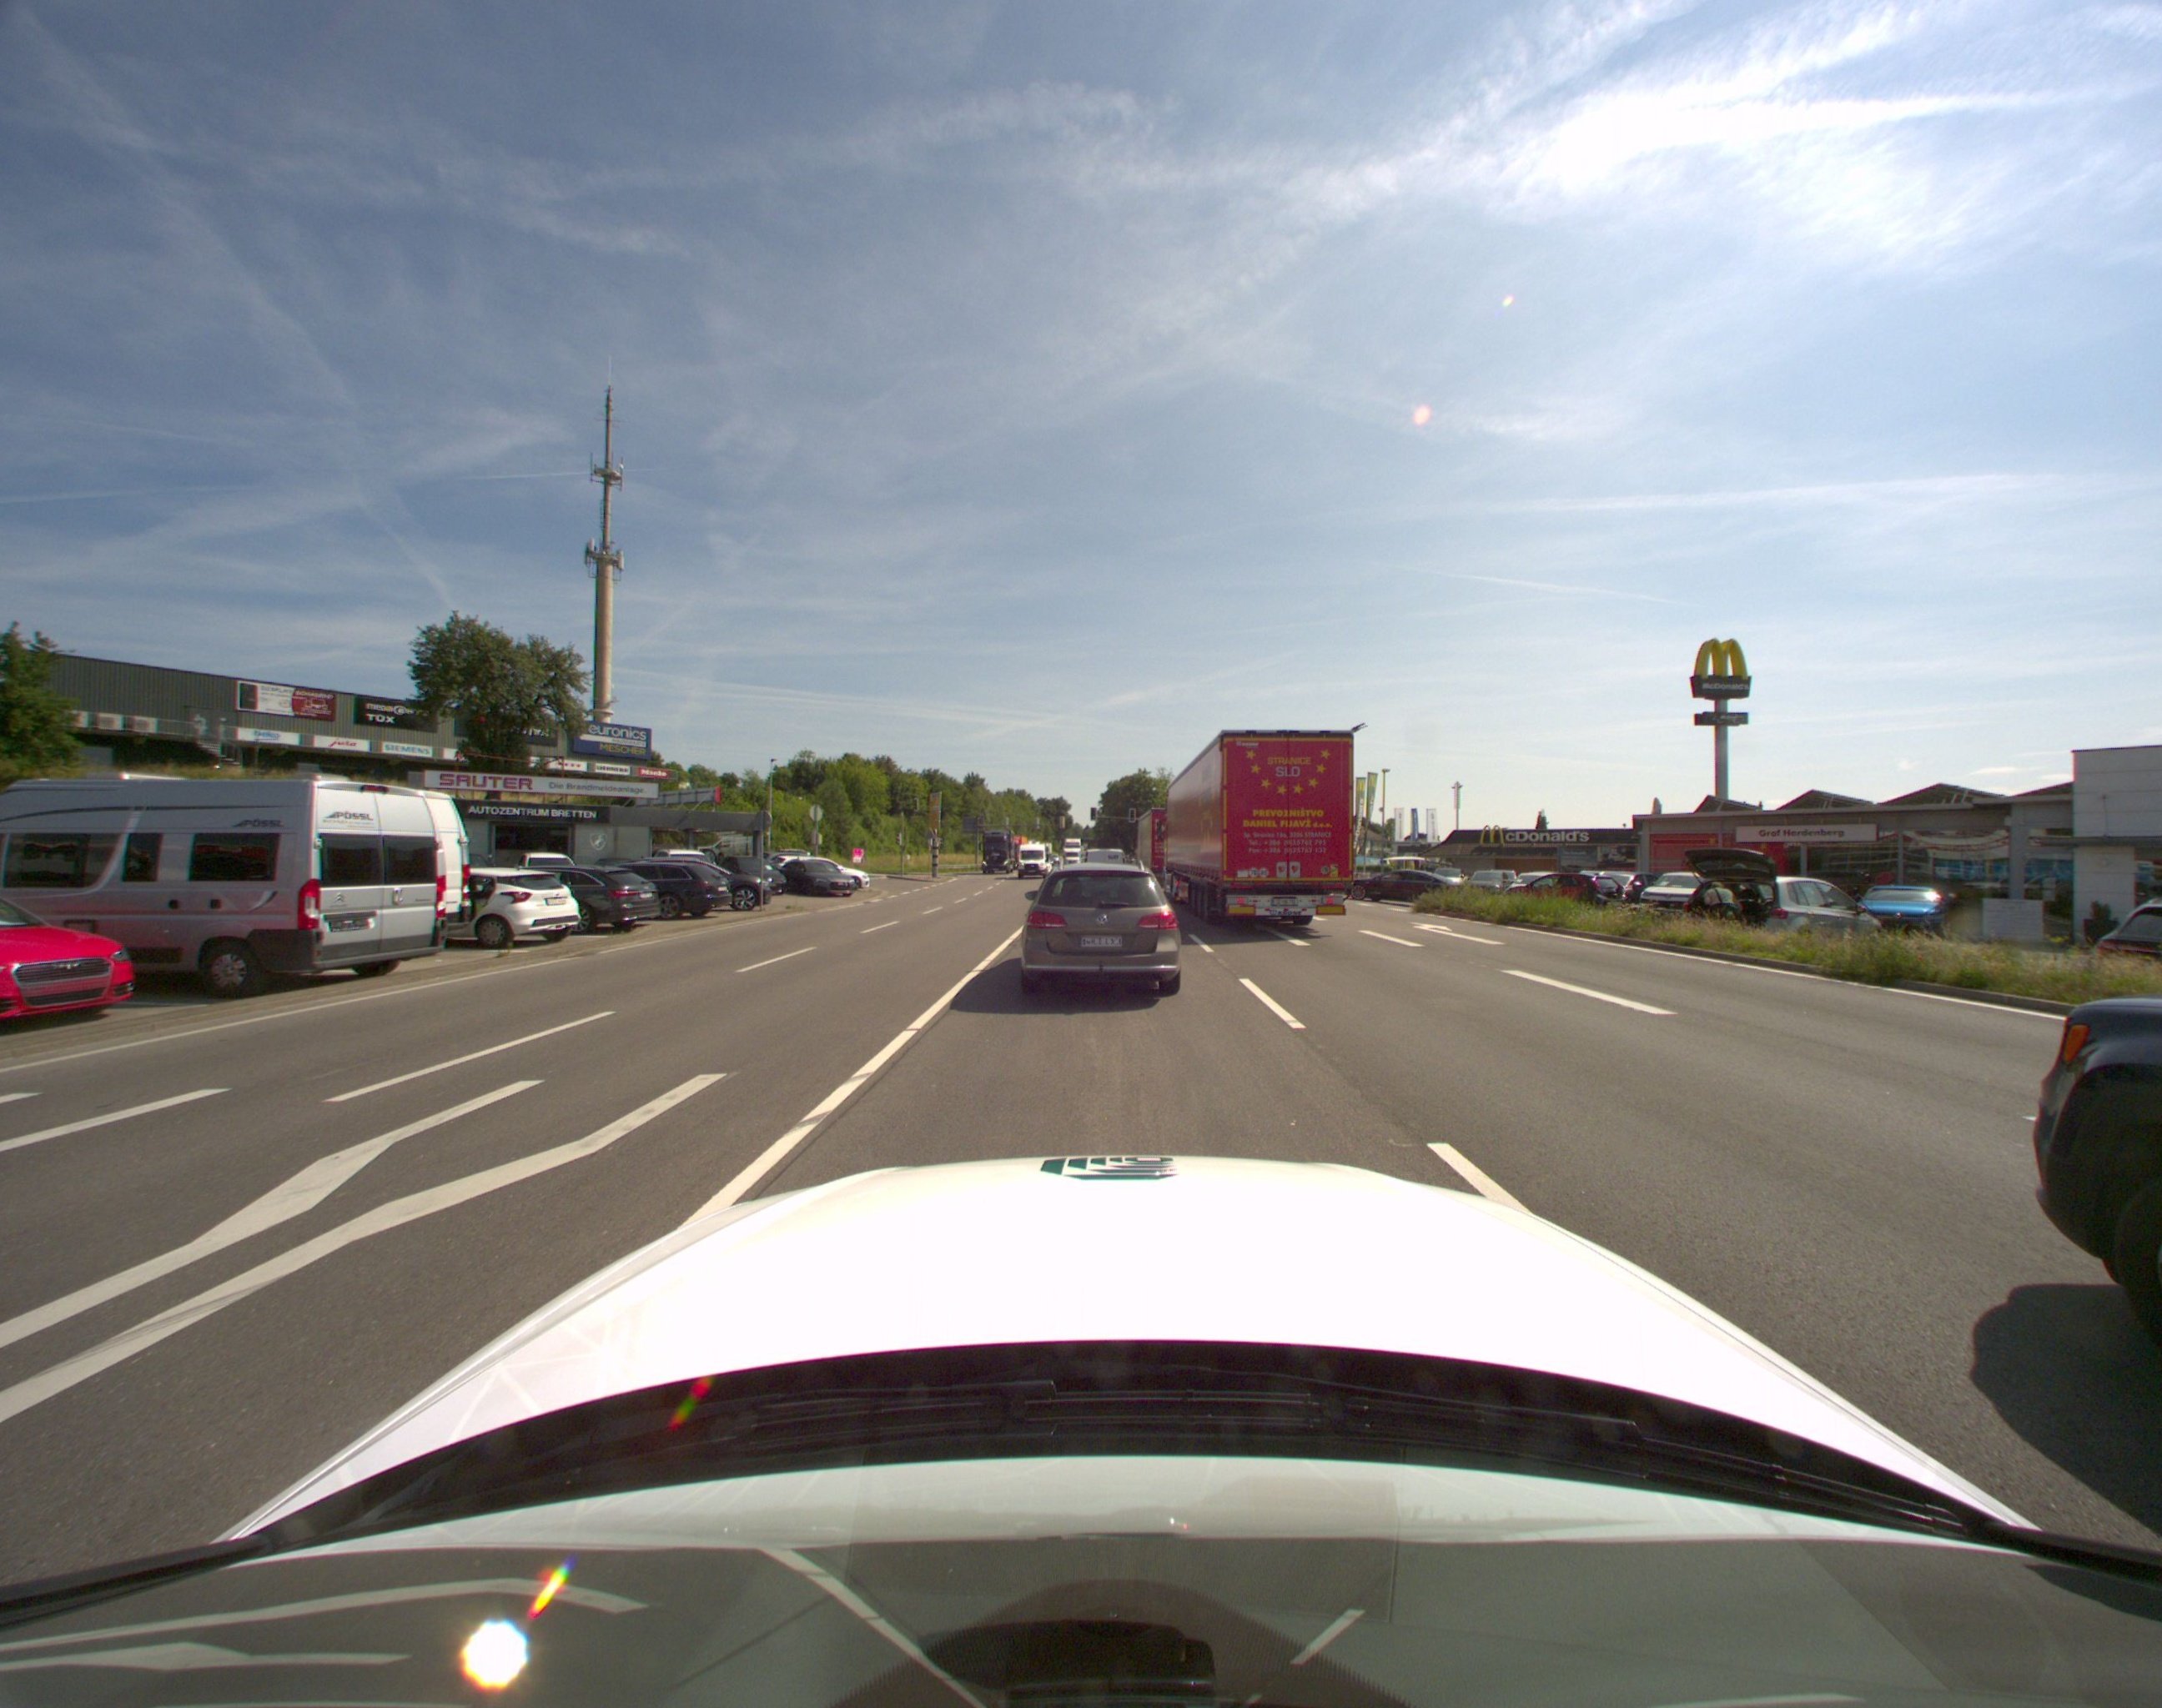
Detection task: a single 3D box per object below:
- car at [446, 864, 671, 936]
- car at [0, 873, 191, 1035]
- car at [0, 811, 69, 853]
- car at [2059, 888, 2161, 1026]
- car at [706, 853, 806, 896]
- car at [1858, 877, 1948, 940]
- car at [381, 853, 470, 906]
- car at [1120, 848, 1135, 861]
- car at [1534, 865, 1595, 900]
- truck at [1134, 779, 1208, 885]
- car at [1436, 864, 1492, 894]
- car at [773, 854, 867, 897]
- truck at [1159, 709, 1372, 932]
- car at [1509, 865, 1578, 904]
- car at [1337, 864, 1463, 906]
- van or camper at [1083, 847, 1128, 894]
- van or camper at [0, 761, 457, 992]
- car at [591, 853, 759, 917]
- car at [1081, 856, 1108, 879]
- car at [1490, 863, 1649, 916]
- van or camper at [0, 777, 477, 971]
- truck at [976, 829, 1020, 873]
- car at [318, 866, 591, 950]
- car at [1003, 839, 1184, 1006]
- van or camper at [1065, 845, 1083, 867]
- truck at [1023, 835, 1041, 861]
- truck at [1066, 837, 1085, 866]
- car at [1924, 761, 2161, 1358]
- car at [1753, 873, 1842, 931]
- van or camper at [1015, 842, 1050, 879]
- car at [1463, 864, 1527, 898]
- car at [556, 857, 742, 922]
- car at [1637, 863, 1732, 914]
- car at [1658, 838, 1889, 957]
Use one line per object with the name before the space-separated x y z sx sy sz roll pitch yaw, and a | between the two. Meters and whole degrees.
car | -11.546 0.989 18.206 3.803 1.448 1.843 -1 0 0
car | -11.829 0.983 8.294 3.580 1.480 1.813 -1 0 2
car | -39.818 -0.807 30.424 1.745 1.450 3.705 1 -1 -39
car | 13.246 1.112 9.071 3.843 1.399 1.693 0 0 -17
car | -13.378 0.832 33.489 3.780 1.693 1.854 -1 0 31
car | 23.403 1.475 23.175 3.807 1.557 1.682 0 0 -44
car | -21.361 0.780 26.678 1.775 1.588 3.791 -1 0 -31
car | 6.012 0.088 105.700 1.721 1.519 3.312 0 -1 1
car | 22.823 1.321 38.398 1.666 1.531 3.617 0 0 45
truck | 4.987 -1.057 48.627 3.051 5.220 17.012 0 0 2
car | 20.773 1.341 44.167 3.284 1.531 1.743 0 0 -45
car | -11.135 0.866 34.613 2.143 1.693 4.474 -1 0 -42
truck | 4.315 -0.625 23.879 2.946 4.270 16.589 0 0 2
car | 19.866 1.266 34.932 1.666 1.531 3.617 0 0 45
car | 12.284 1.136 31.537 4.148 1.455 1.858 0 0 44
van or camper | 1.050 0.679 35.132 1.846 1.906 3.785 0 0 1
van or camper | -11.763 0.280 10.860 5.224 2.731 2.212 0 0 2
car | -11.473 0.848 23.200 3.803 1.675 1.843 -1 0 0
car | 0.912 0.907 54.212 1.720 1.519 3.313 0 -1 2
car | 15.699 1.084 26.378 2.004 1.531 3.965 0 0 -27
van or camper | -13.634 0.304 13.315 5.868 2.873 2.291 0 0 2
truck | -7.493 -0.269 74.524 2.800 3.786 6.997 -2 0 4
car | -11.903 0.996 15.673 3.803 1.448 1.843 -1 0 0
car | 0.269 0.701 9.855 1.782 1.638 3.508 -1 -1 5
van or camper | -0.902 0.321 111.207 2.216 2.841 5.712 0 -1 1
truck | -7.440 -0.912 123.946 2.527 3.786 6.983 -2 0 -2
truck | -0.839 -0.409 126.039 2.543 4.307 7.598 -2 0 2
car | 3.891 0.561 0.914 1.812 1.685 4.002 -1 0 2
car | 22.055 1.404 25.004 1.781 1.531 4.251 0 0 45
van or camper | -3.427 0.479 58.566 2.165 2.551 4.171 0 0 1
car | 20.057 1.274 39.384 1.747 1.531 3.651 0 0 45
car | -11.078 0.885 21.084 3.803 1.539 1.843 -1 0 0
car | 20.257 1.098 27.285 1.975 1.531 4.023 0 0 45
car | 12.549 0.709 14.758 3.850 1.921 1.689 0 0 -24
